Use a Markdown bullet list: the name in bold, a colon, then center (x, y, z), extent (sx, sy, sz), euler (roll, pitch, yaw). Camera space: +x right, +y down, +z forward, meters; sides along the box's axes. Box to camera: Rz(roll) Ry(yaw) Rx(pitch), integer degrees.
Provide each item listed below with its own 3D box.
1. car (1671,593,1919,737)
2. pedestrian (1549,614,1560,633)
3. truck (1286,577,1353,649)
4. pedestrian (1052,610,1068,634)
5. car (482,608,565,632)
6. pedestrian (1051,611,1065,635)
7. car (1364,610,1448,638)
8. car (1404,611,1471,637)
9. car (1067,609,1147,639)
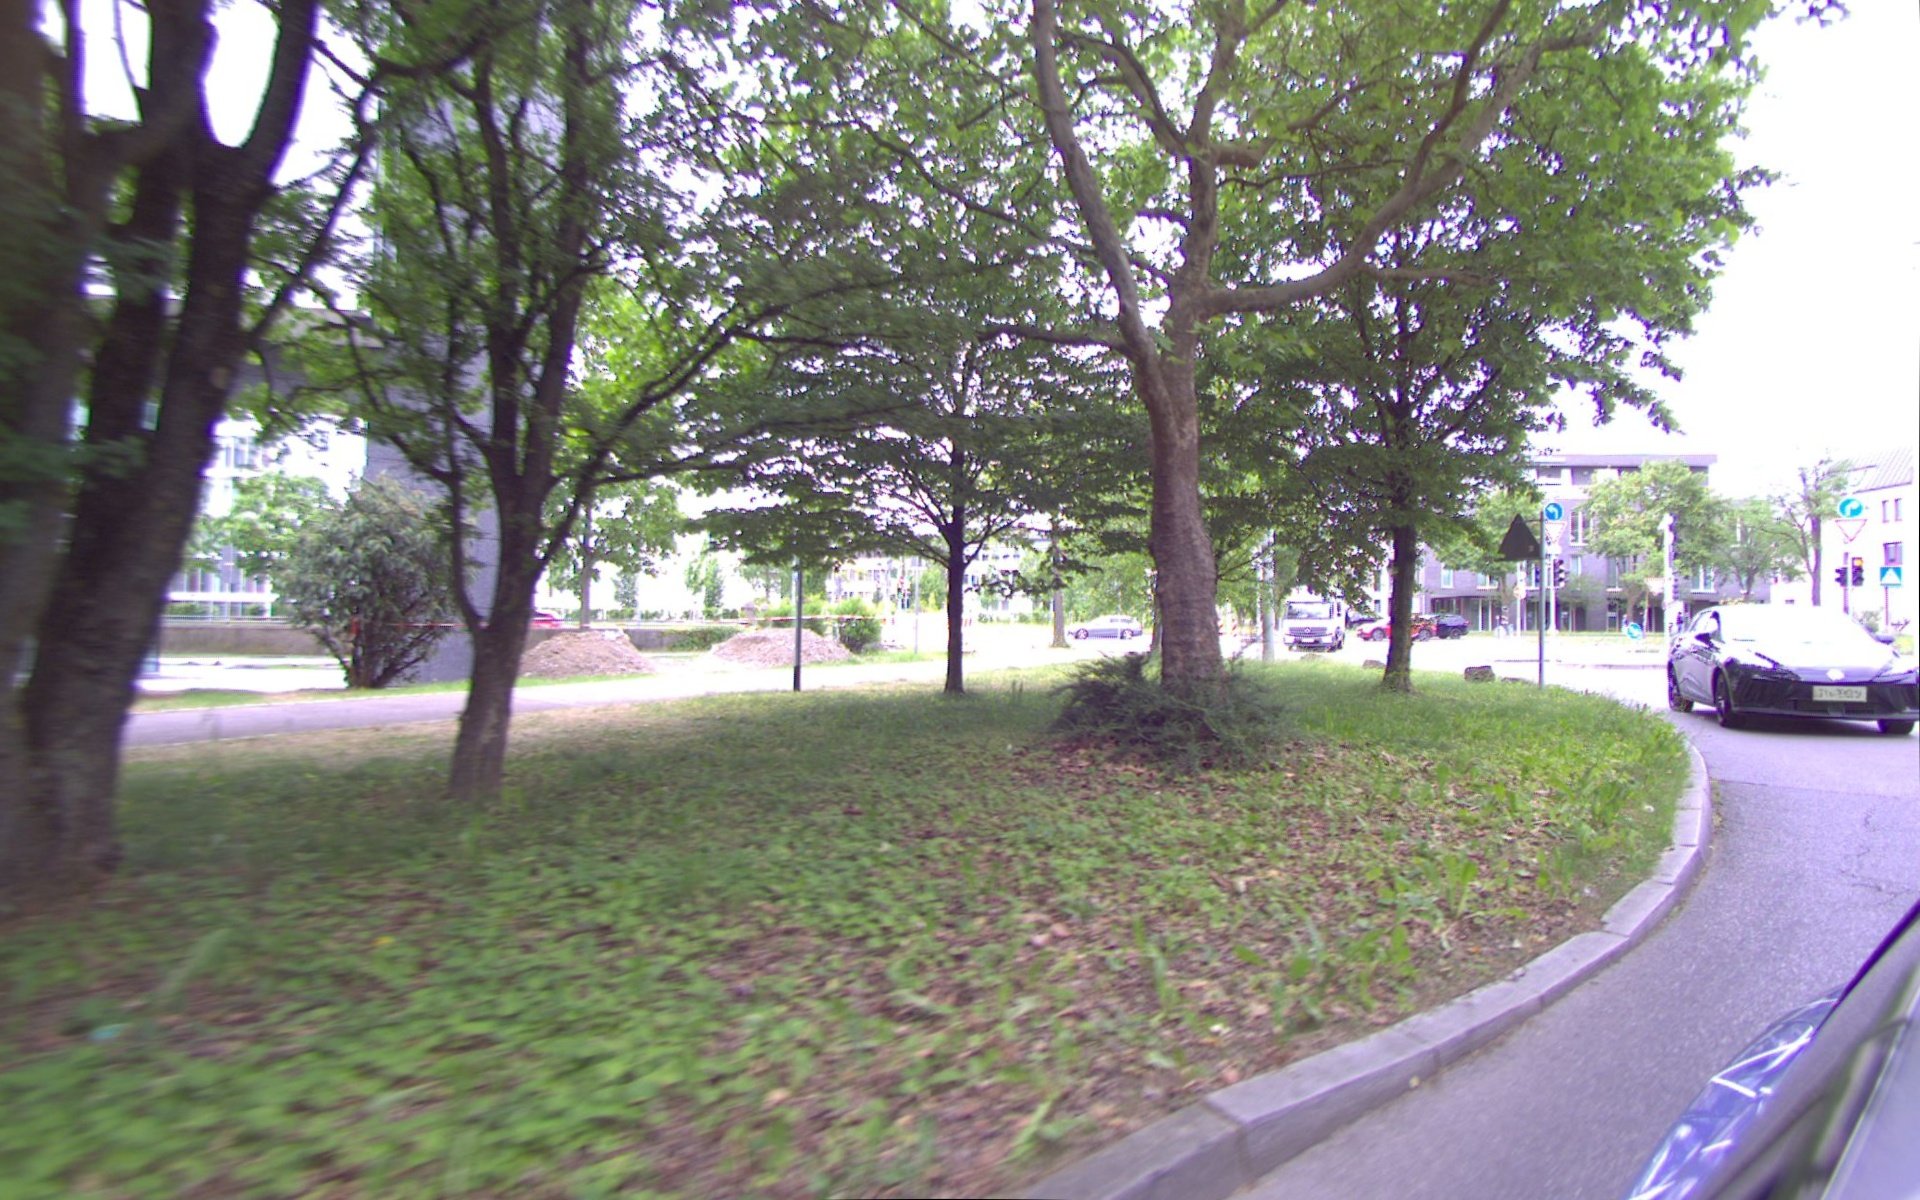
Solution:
- **car**: center (10.558, 0.687, 12.928), extent (1.784, 1.502, 3.983), euler (1, 1, 26)
- **pedestrian**: center (43.028, 1.692, 73.249), extent (0.529, 1.375, 0.654), euler (-2, -4, 22)
- **truck**: center (17.525, 0.570, 49.123), extent (2.413, 3.235, 6.408), euler (0, 0, 26)
- **pedestrian**: center (7.198, 1.618, 73.090), extent (0.982, 1.718, 0.609), euler (0, -4, -12)
- **car**: center (-27.033, 1.257, 62.792), extent (4.270, 1.442, 2.001), euler (1, -1, -4)
- **pedestrian**: center (7.154, 1.645, 73.739), extent (0.815, 1.718, 0.617), euler (0, -4, -12)
- **car**: center (27.243, 1.500, 61.900), extent (4.292, 1.505, 1.825), euler (2, -3, -2)
- **car**: center (30.891, 1.565, 65.586), extent (3.861, 1.505, 1.756), euler (0, -4, 24)
- **car**: center (9.025, 1.461, 62.236), extent (4.513, 1.717, 2.000), euler (-1, -3, -3)
